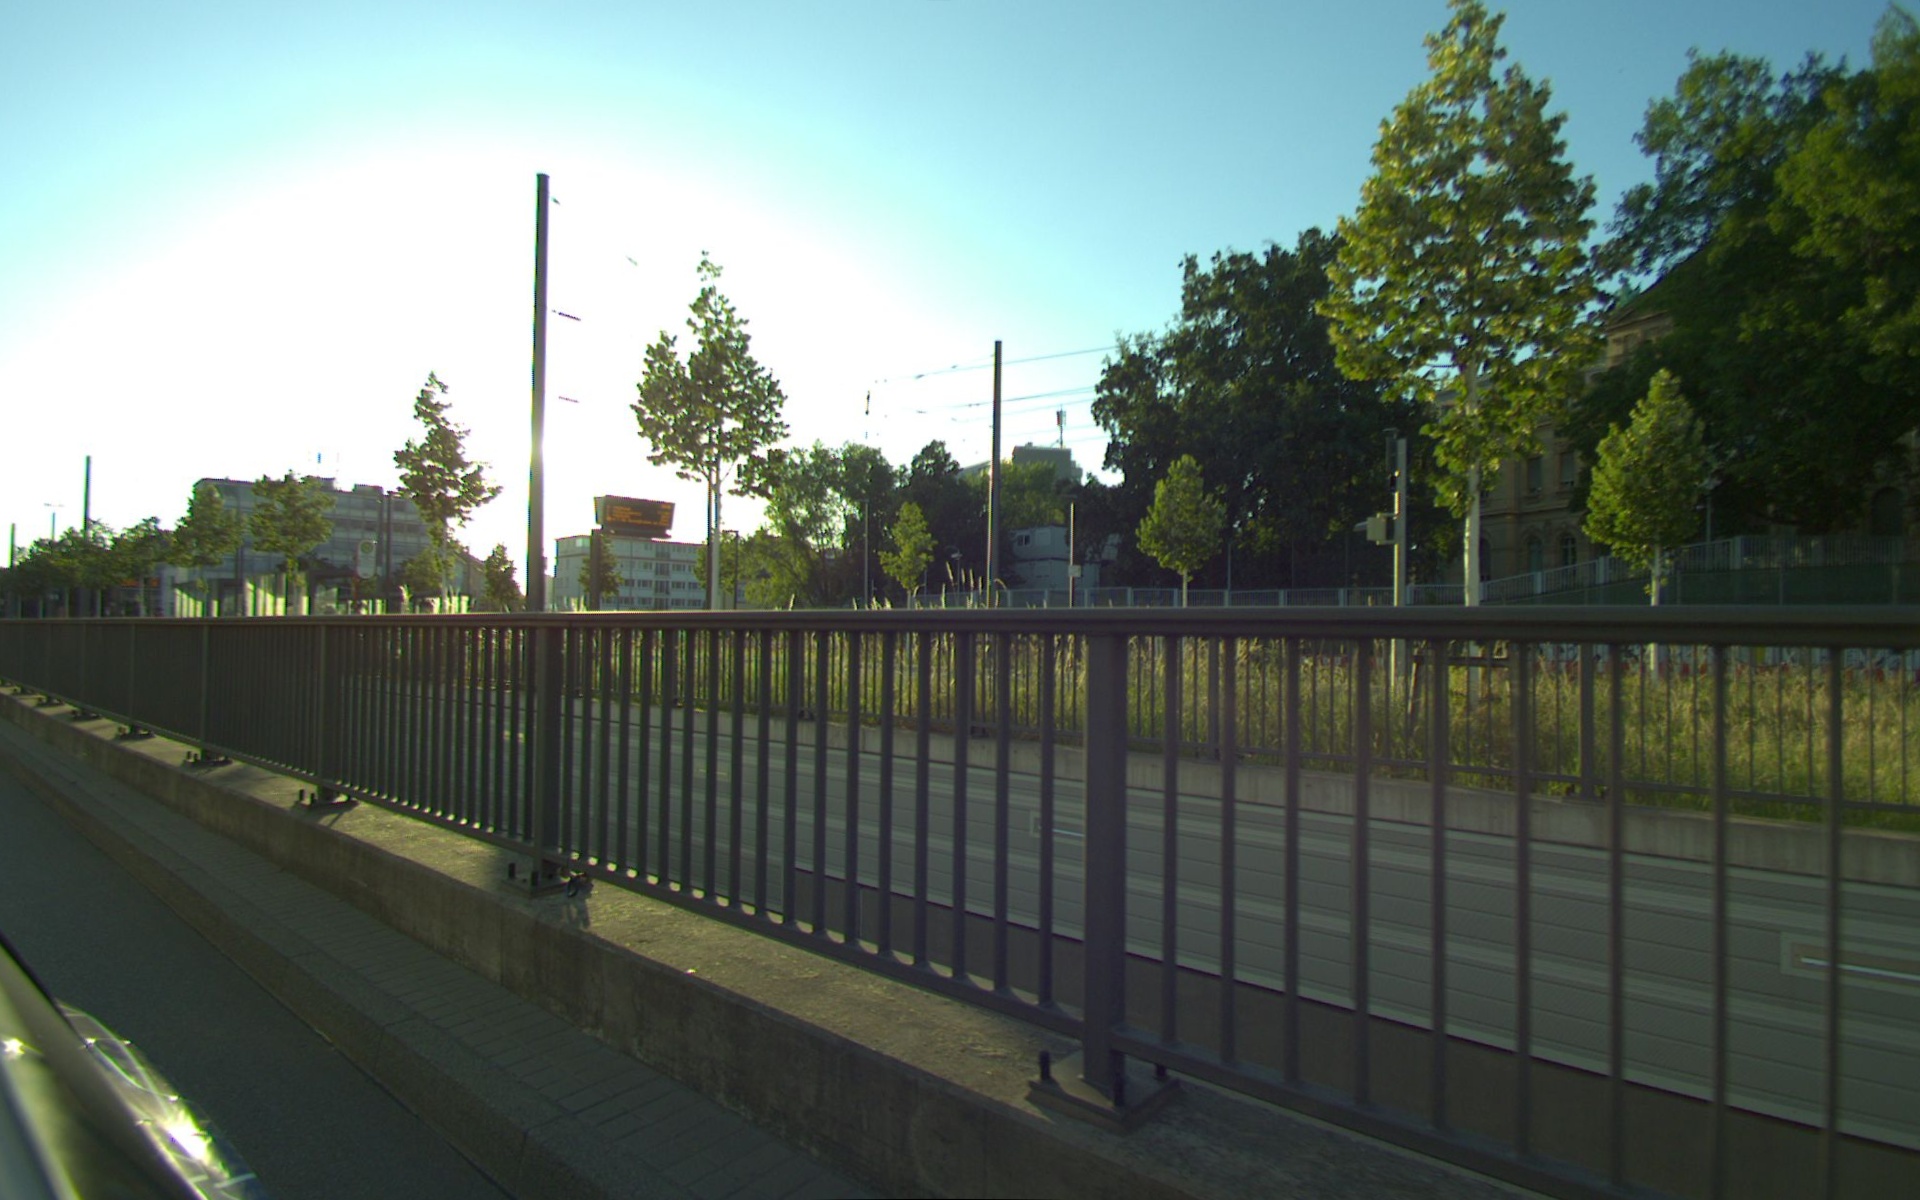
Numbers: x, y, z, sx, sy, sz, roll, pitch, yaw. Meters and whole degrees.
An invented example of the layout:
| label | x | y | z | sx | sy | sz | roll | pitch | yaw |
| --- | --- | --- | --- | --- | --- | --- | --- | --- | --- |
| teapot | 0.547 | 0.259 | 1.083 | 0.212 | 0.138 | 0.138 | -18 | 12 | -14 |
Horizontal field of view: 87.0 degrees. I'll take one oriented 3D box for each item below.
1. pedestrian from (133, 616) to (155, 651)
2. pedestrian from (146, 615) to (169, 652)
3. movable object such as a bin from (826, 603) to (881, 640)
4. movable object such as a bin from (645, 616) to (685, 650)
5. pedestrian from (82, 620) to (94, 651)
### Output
| label | x | y | z | sx | sy | sz | roll | pitch | yaw |
| --- | --- | --- | --- | --- | --- | --- | --- | --- | --- |
| pedestrian | -41.772 | 1.704 | 51.823 | 0.634 | 1.758 | 0.719 | -2 | -3 | 33 |
| pedestrian | -38.161 | 1.579 | 48.123 | 0.633 | 1.742 | 0.630 | -1 | -2 | 29 |
| movable object such as a bin | -8.028 | 1.617 | 75.983 | 4.001 | 2.727 | 1.971 | -1 | -2 | 44 |
| movable object such as a bin | -24.784 | 2.764 | 84.840 | 1.967 | 2.727 | 4.010 | 1 | -2 | -36 |
| pedestrian | -50.075 | 2.036 | 58.090 | 0.465 | 1.800 | 0.627 | 2 | -3 | -41 |
